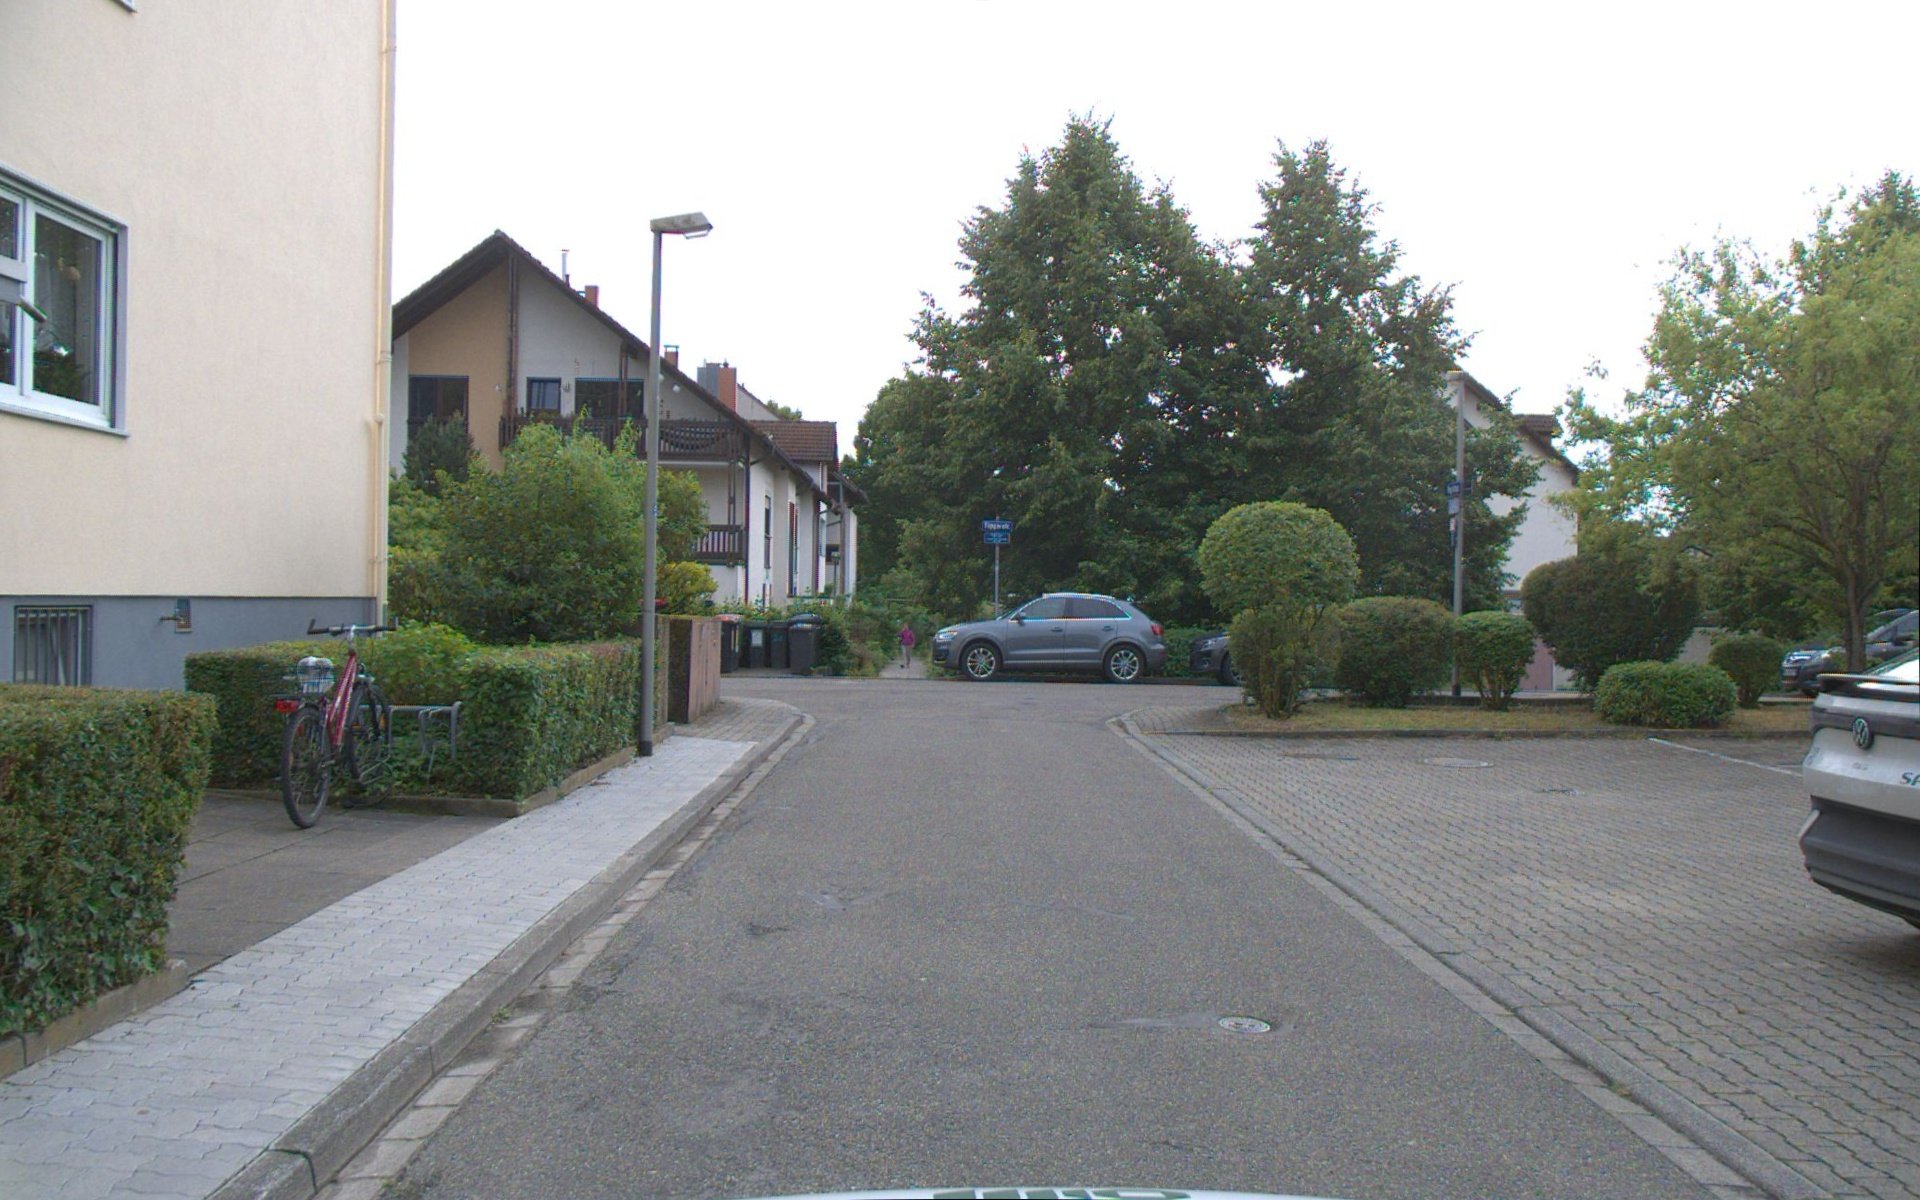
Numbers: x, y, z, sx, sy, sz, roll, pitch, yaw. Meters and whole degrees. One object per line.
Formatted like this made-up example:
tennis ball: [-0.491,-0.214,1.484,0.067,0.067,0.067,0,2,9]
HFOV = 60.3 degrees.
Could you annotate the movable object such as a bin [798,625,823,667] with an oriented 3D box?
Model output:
movable object such as a bin: [-3.000,0.923,33.231,0.450,0.811,0.379,2,0,-4]

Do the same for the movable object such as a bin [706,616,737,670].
movable object such as a bin: [-4.609,0.826,31.955,0.526,1.011,0.379,2,0,-4]

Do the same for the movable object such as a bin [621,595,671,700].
movable object such as a bin: [-3.663,0.546,19.308,0.495,1.208,0.515,-1,0,-2]

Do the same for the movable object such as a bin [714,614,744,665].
movable object such as a bin: [-4.628,0.788,33.133,0.526,1.011,0.337,2,0,-4]

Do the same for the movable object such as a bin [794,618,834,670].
movable object such as a bin: [-2.884,0.865,32.667,0.719,0.970,0.584,2,0,-2]

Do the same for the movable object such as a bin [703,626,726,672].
movable object such as a bin: [-4.657,0.927,31.430,0.378,0.851,0.379,2,0,-4]

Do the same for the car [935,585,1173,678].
car: [1.637,0.575,29.842,4.151,1.558,1.746,1,-2,-2]

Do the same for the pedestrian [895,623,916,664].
pedestrian: [-2.074,1.650,62.954,0.799,1.544,0.438,0,-1,-4]

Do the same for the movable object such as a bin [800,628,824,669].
movable object such as a bin: [-3.010,0.979,33.686,0.450,0.811,0.379,2,0,-4]

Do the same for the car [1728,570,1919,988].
car: [5.943,0.707,7.018,4.444,1.616,1.988,1,0,0]

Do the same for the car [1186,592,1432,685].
car: [6.159,0.694,29.538,4.094,1.558,1.748,1,-2,3]

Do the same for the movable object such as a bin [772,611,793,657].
movable object such as a bin: [-3.585,0.686,33.380,0.378,0.905,0.379,2,0,-4]

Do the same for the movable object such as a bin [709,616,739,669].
movable object such as a bin: [-4.616,0.822,32.334,0.526,1.011,0.337,2,0,-4]

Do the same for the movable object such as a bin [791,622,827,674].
movable object such as a bin: [-2.900,0.915,31.826,0.625,0.970,0.722,2,0,-2]

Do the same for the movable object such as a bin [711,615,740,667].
movable object such as a bin: [-4.636,0.804,32.694,0.526,1.011,0.337,2,0,-4]

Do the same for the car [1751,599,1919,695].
car: [16.697,0.855,29.404,4.444,1.622,1.763,1,-2,1]

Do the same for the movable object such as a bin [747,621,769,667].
movable object such as a bin: [-4.070,0.883,33.335,0.378,0.917,0.379,2,0,-4]

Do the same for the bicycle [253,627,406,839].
bicycle: [-3.567,0.714,9.441,0.311,1.094,1.418,2,0,-1]

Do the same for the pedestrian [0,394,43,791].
pedestrian: [-4.634,-0.036,7.374,0.666,1.779,0.755,2,0,-7]
